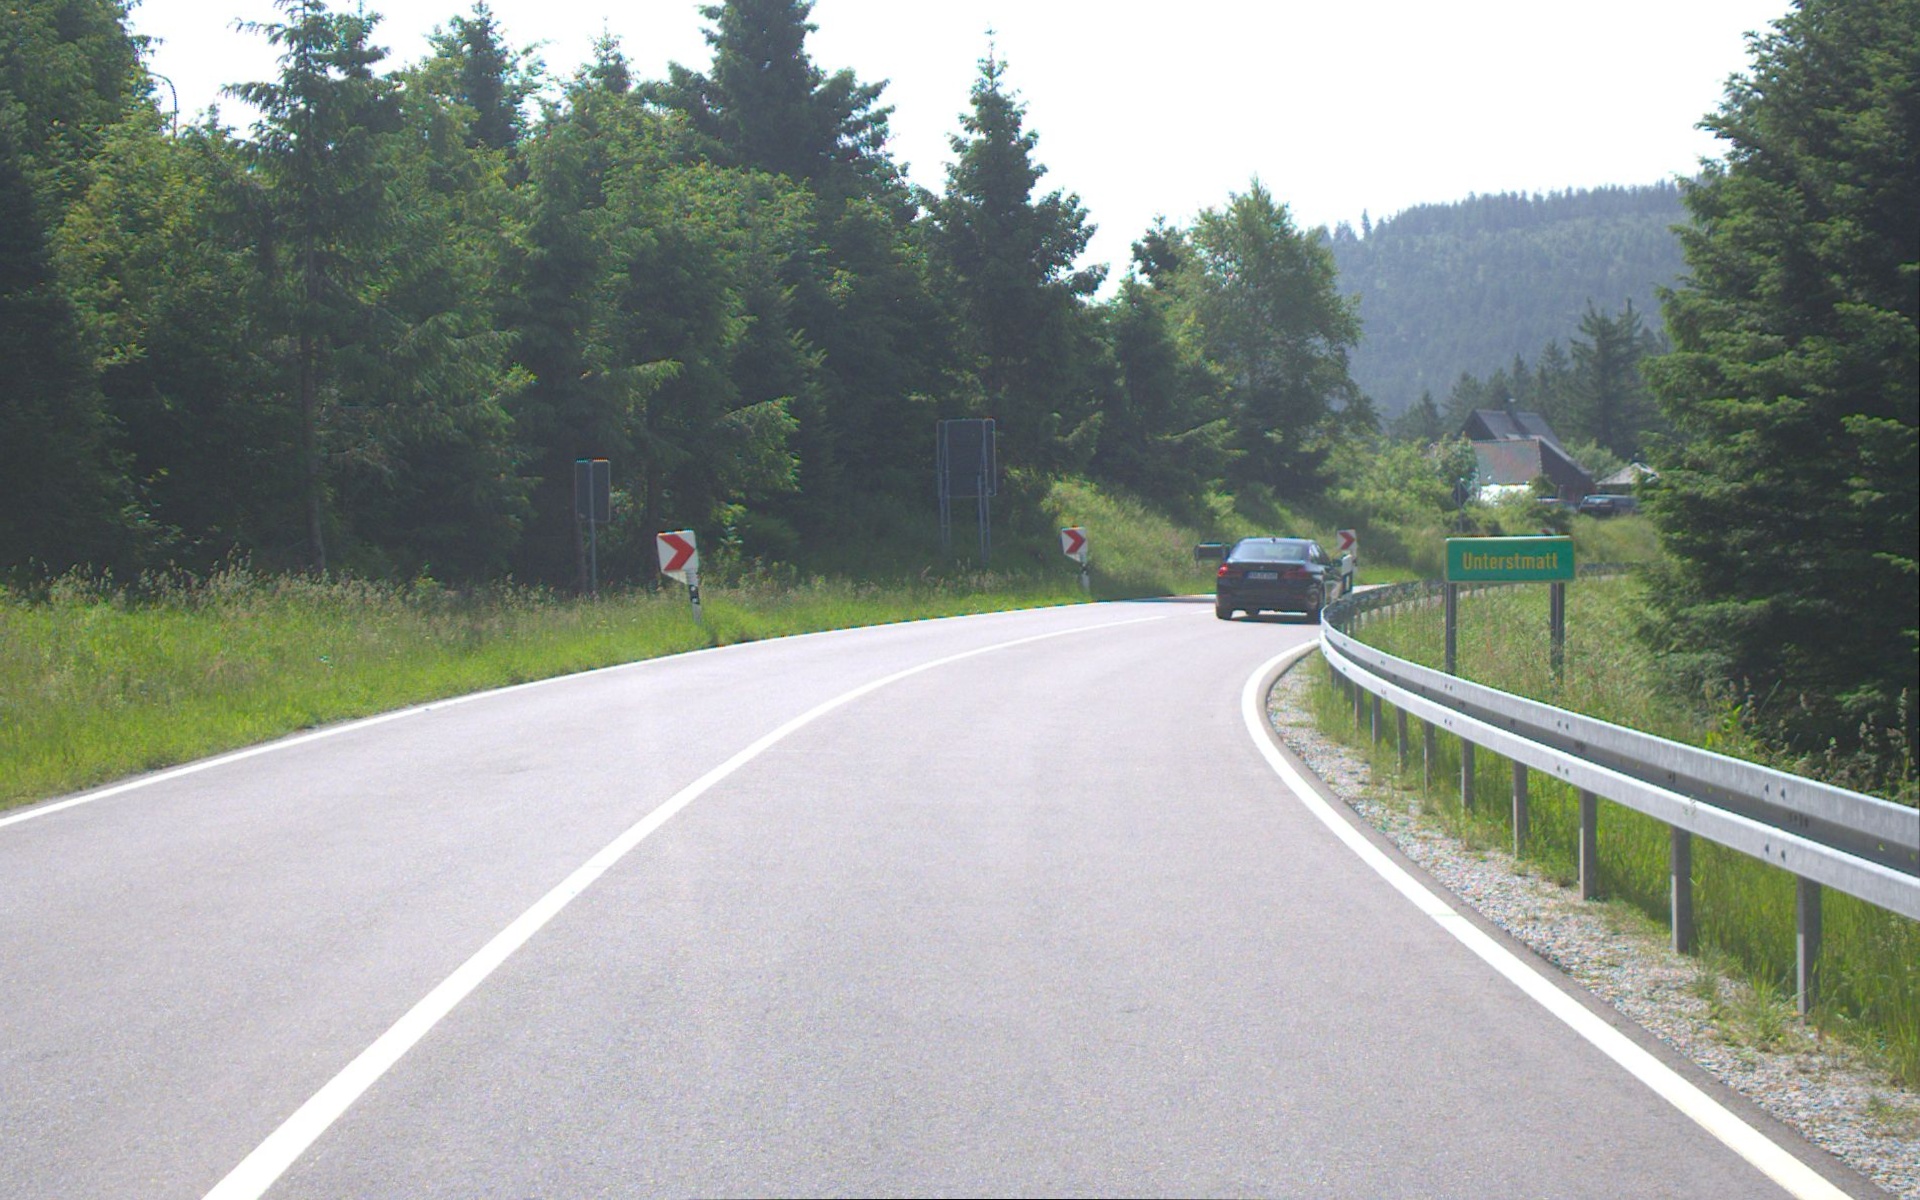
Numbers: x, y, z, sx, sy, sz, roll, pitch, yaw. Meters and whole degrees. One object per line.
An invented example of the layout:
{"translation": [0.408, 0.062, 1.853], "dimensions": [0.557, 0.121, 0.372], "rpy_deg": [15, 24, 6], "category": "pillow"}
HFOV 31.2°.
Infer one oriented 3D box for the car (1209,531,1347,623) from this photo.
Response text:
{"translation": [5.506, -0.425, 59.227], "dimensions": [1.777, 1.437, 3.707], "rpy_deg": [2, 2, 14], "category": "car"}
